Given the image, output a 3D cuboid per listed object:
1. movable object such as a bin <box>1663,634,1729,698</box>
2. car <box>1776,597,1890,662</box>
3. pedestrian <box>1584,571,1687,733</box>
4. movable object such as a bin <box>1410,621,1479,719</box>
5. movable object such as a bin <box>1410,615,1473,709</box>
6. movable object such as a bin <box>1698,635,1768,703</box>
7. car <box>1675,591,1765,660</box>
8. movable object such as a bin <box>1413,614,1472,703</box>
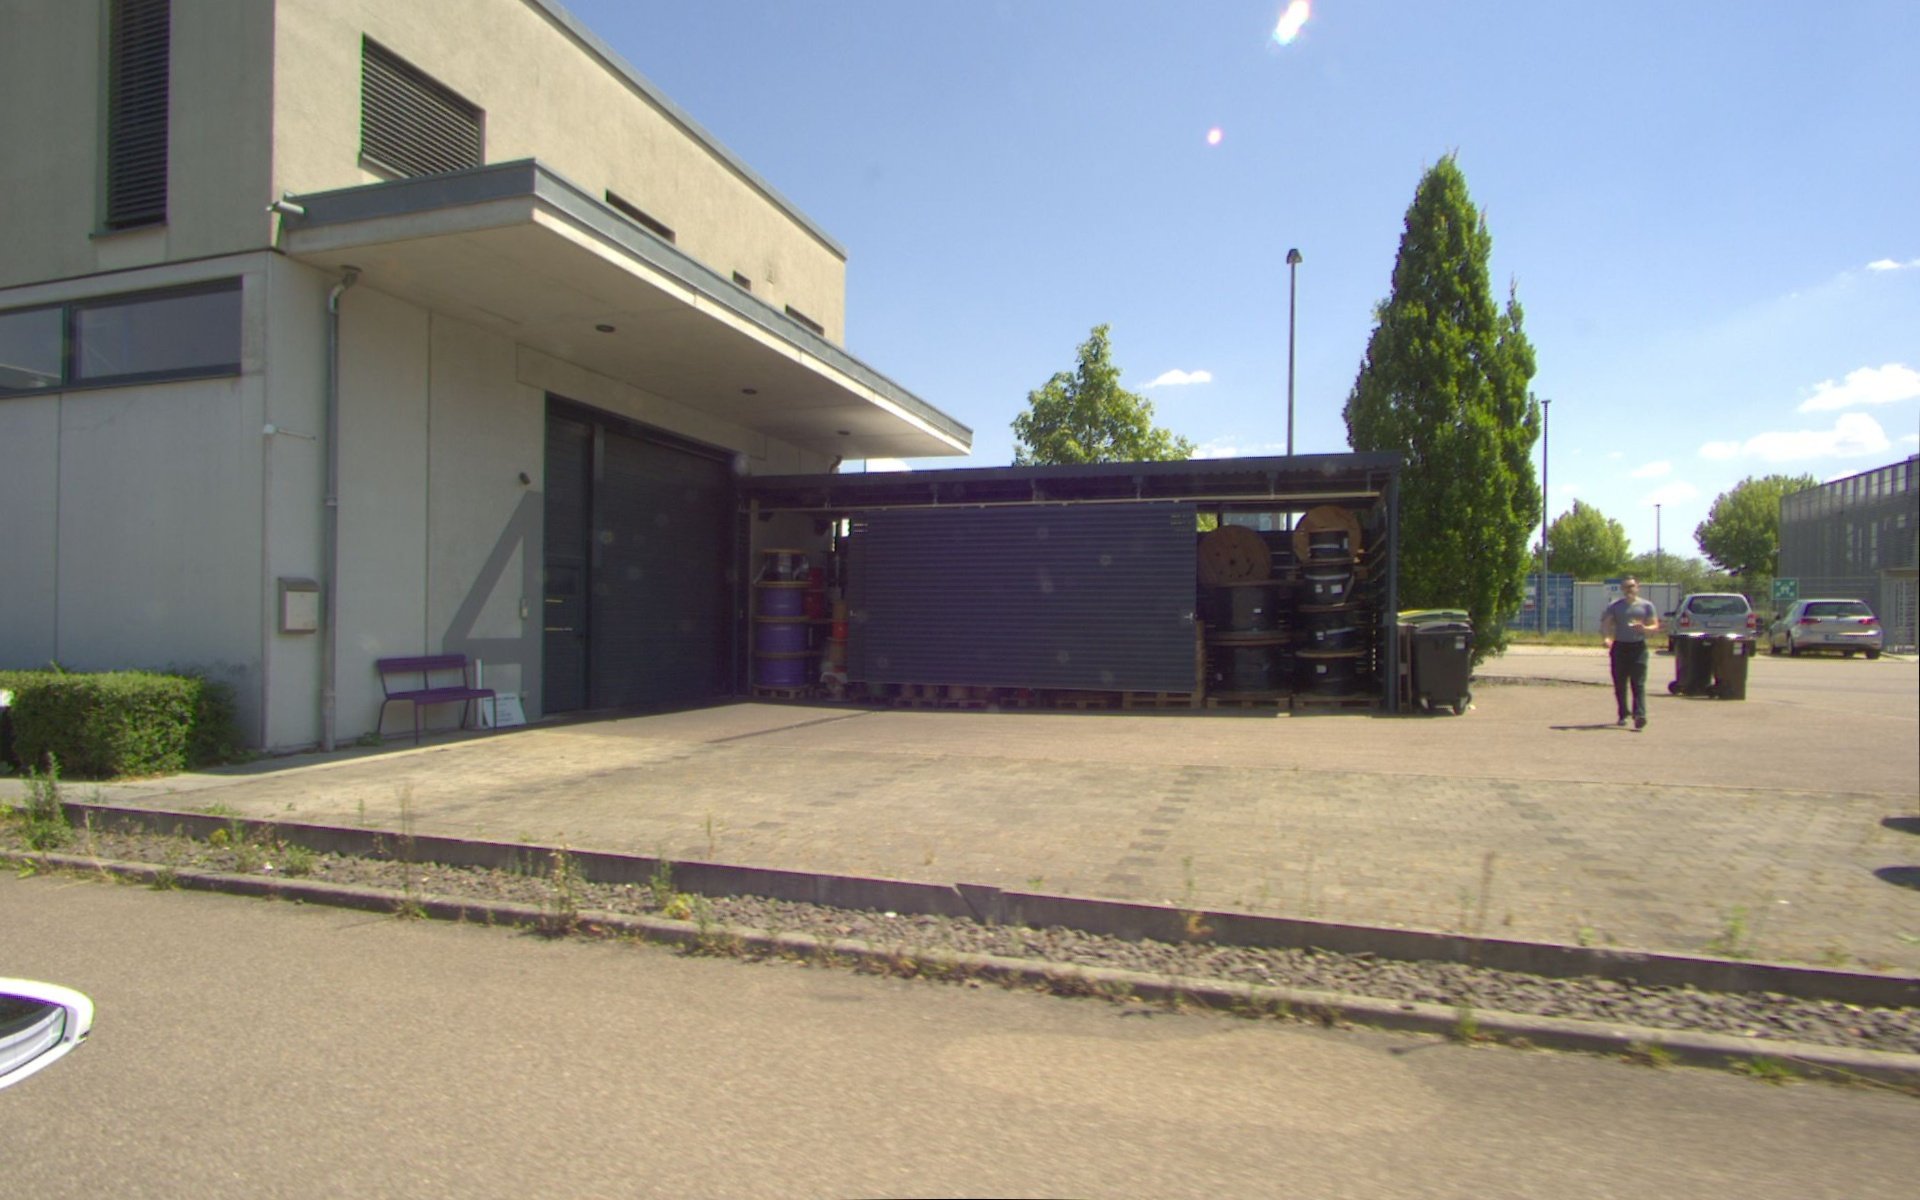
[{"bbox_3d":[11.032,0.982,15.023,0.537,0.929,0.585,-1,0,-6],"label":"movable object such as a bin"},{"bbox_3d":[22.206,0.706,25.611,1.826,1.517,3.974,0,0,36],"label":"car"},{"bbox_3d":[7.840,0.585,11.632,0.761,1.791,0.802,-1,-1,-42],"label":"pedestrian"},{"bbox_3d":[6.538,0.922,13.518,0.789,1.266,0.873,-1,0,27],"label":"movable object such as a bin"},{"bbox_3d":[7.058,0.890,14.687,0.789,1.315,0.753,-1,0,27],"label":"movable object such as a bin"},{"bbox_3d":[11.088,0.976,14.375,0.537,0.929,0.585,-1,0,-6],"label":"movable object such as a bin"},{"bbox_3d":[20.353,0.649,26.943,1.826,1.728,3.974,0,0,36],"label":"car"},{"bbox_3d":[7.445,0.887,15.454,0.789,1.315,0.807,-1,0,27],"label":"movable object such as a bin"}]
